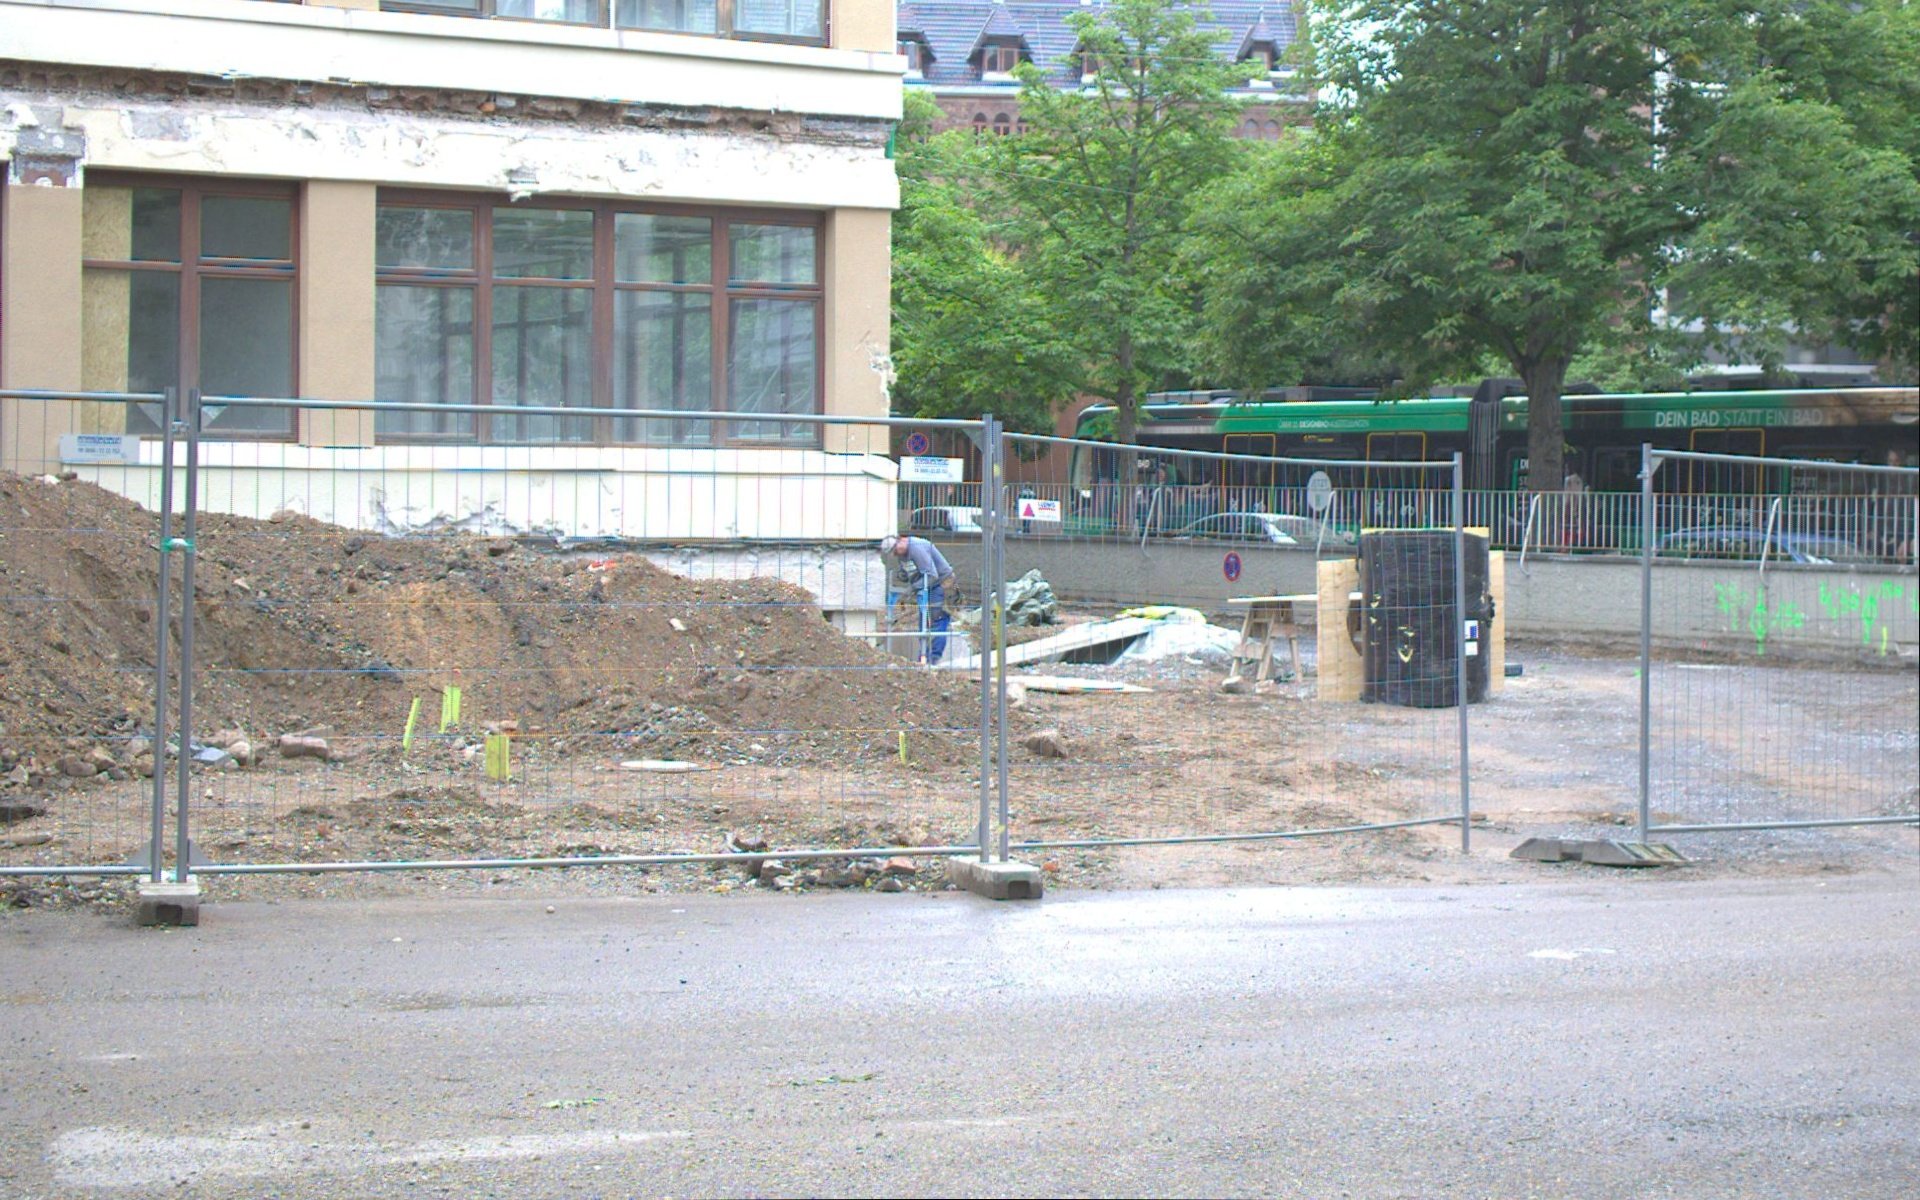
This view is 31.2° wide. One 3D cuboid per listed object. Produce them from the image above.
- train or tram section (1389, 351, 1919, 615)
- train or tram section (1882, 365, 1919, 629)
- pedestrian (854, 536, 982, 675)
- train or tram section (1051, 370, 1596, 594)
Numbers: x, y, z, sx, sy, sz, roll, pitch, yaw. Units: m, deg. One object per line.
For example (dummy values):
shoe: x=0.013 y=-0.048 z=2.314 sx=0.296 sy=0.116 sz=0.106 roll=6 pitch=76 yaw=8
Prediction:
train or tram section: x=11.446 y=-1.749 z=52.197 sx=2.659 sy=3.602 sz=12.459 roll=0 pitch=2 yaw=-31
train or tram section: x=17.675 y=-1.221 z=41.796 sx=2.659 sy=3.602 sz=14.772 roll=0 pitch=2 yaw=-31
pedestrian: x=-0.445 y=0.049 z=36.107 sx=0.980 sy=1.433 sz=0.931 roll=0 pitch=1 yaw=-35
train or tram section: x=6.093 y=-2.070 z=61.193 sx=2.659 sy=3.602 sz=12.459 roll=0 pitch=2 yaw=-31
